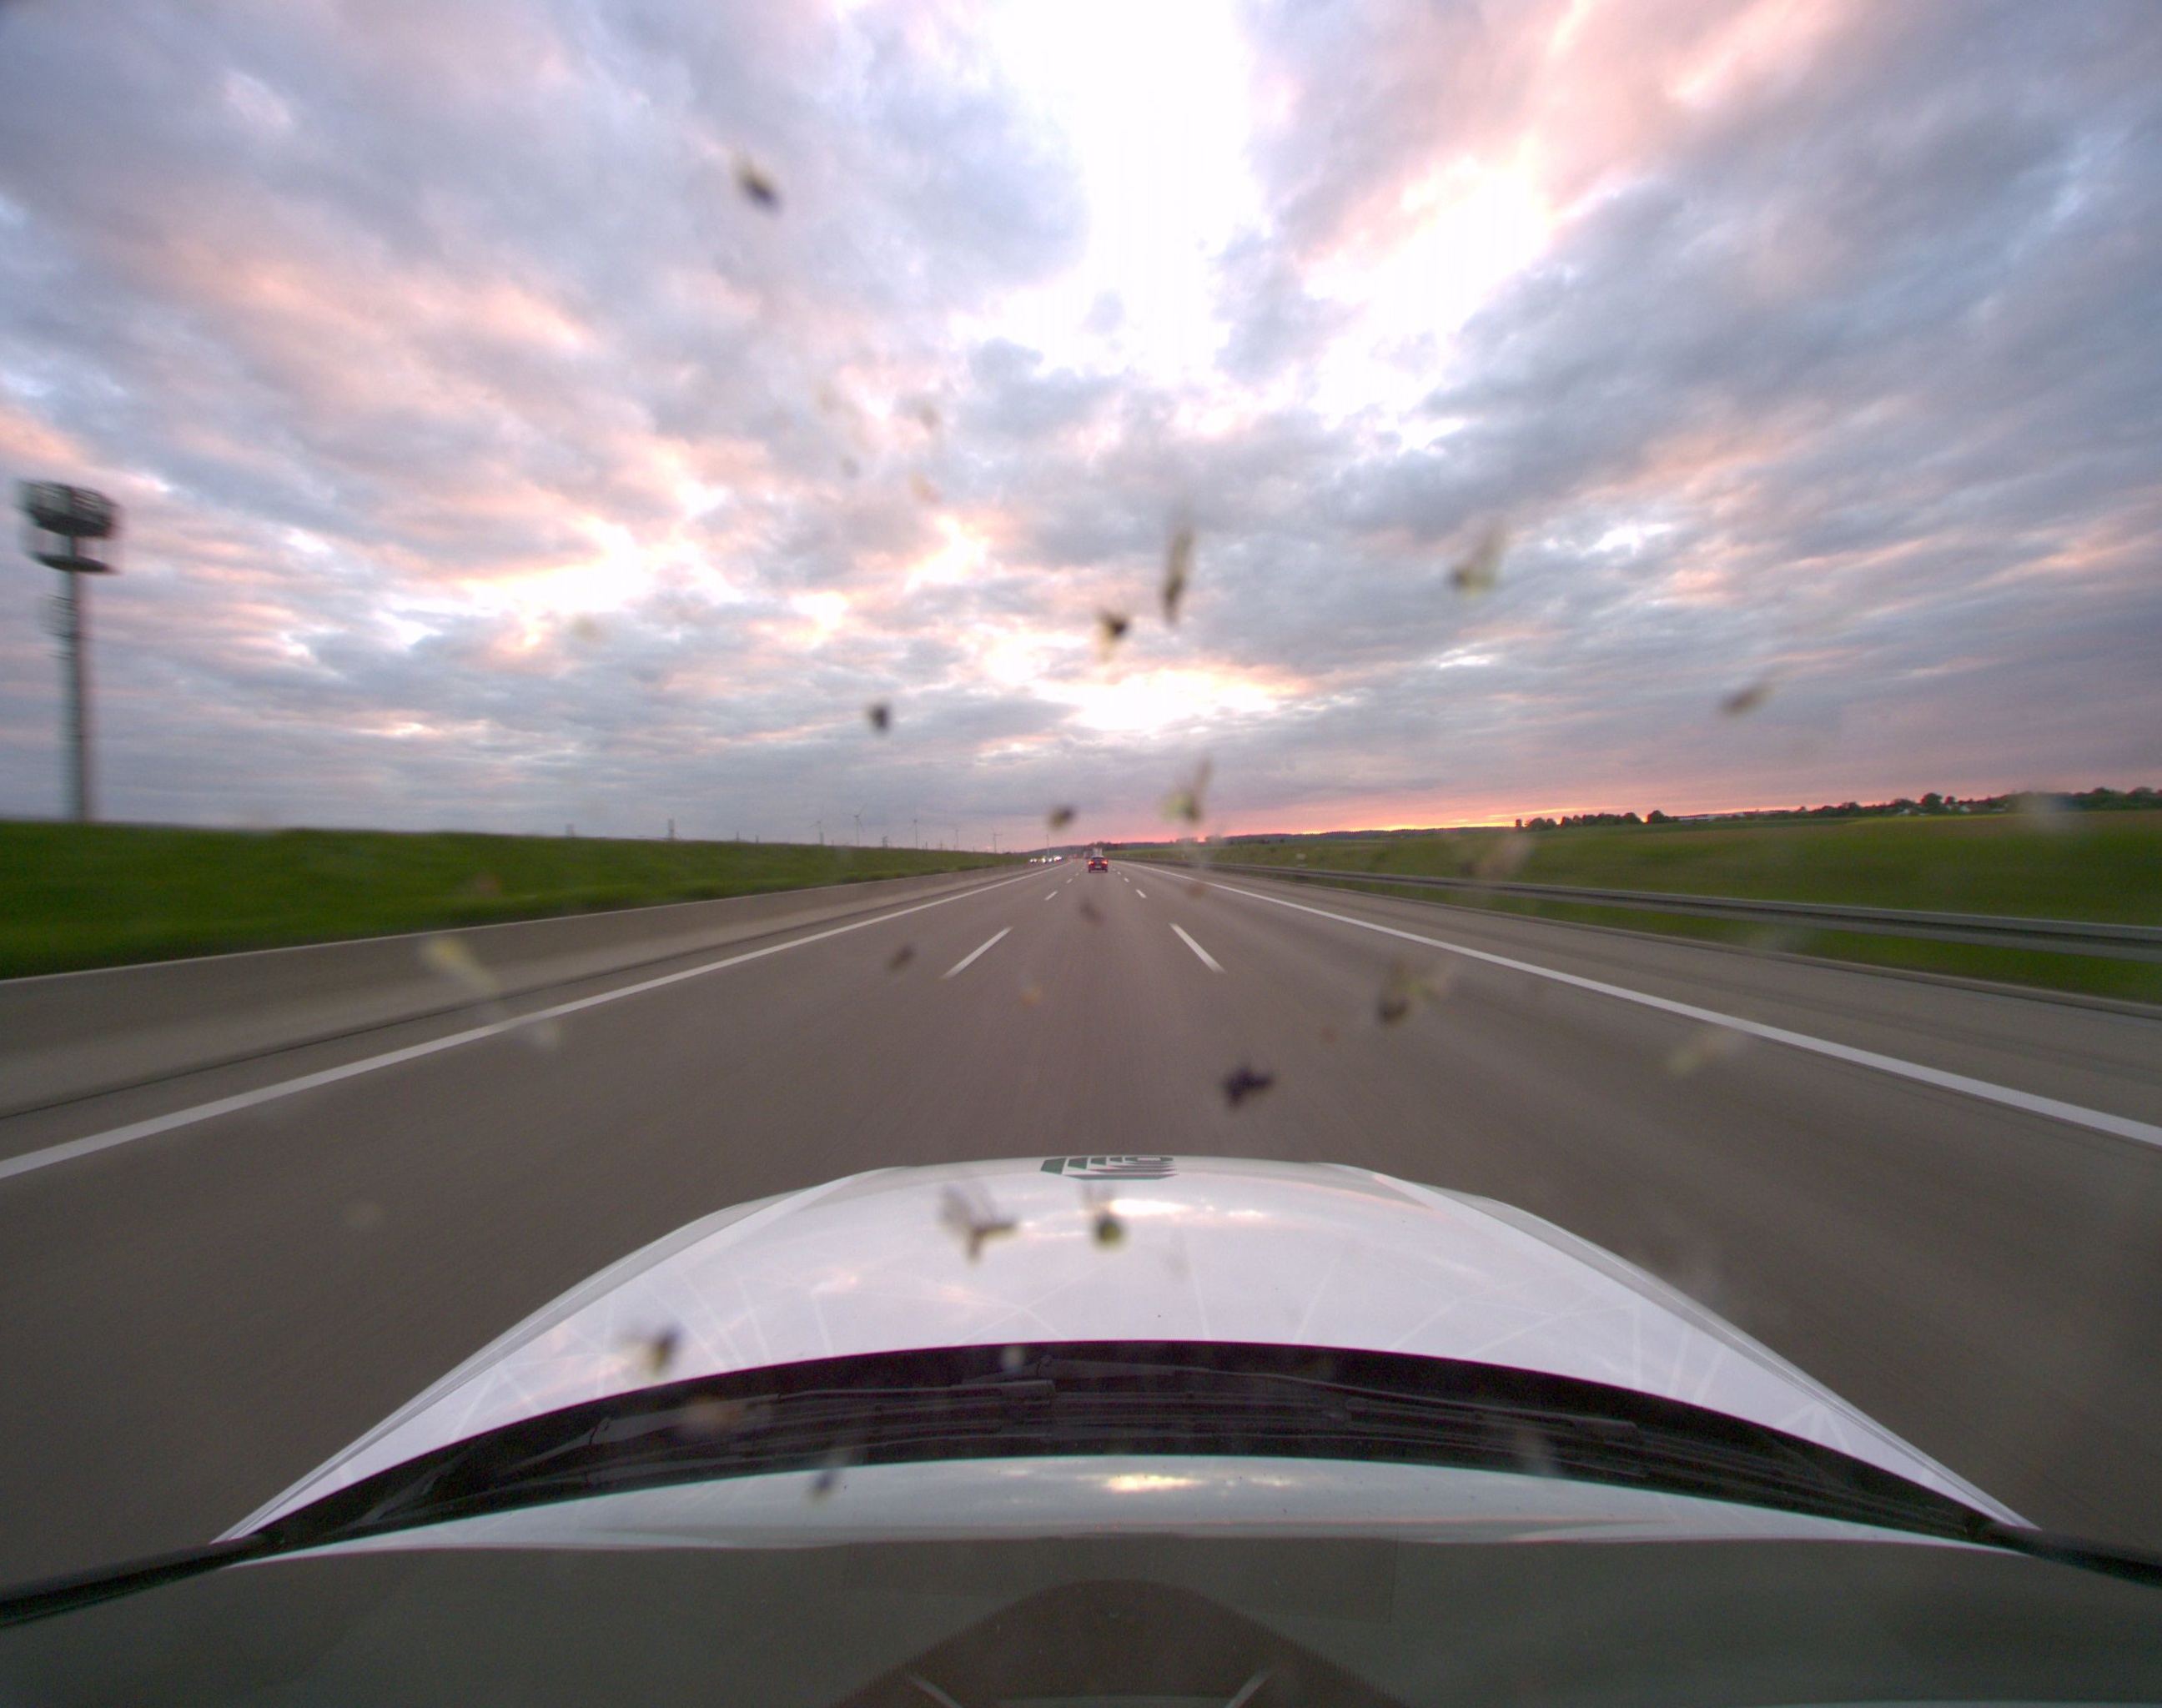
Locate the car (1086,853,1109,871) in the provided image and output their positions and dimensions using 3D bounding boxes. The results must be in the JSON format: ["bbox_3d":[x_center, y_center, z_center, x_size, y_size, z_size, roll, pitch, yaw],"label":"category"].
[{"bbox_3d":[1.513,0.711,73.072,1.980,1.429,4.001,-3,0,1],"label":"car"}]

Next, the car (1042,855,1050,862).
[{"bbox_3d":[-9.193,1.092,215.487,1.841,1.816,3.883,-2,0,1],"label":"car"}]
